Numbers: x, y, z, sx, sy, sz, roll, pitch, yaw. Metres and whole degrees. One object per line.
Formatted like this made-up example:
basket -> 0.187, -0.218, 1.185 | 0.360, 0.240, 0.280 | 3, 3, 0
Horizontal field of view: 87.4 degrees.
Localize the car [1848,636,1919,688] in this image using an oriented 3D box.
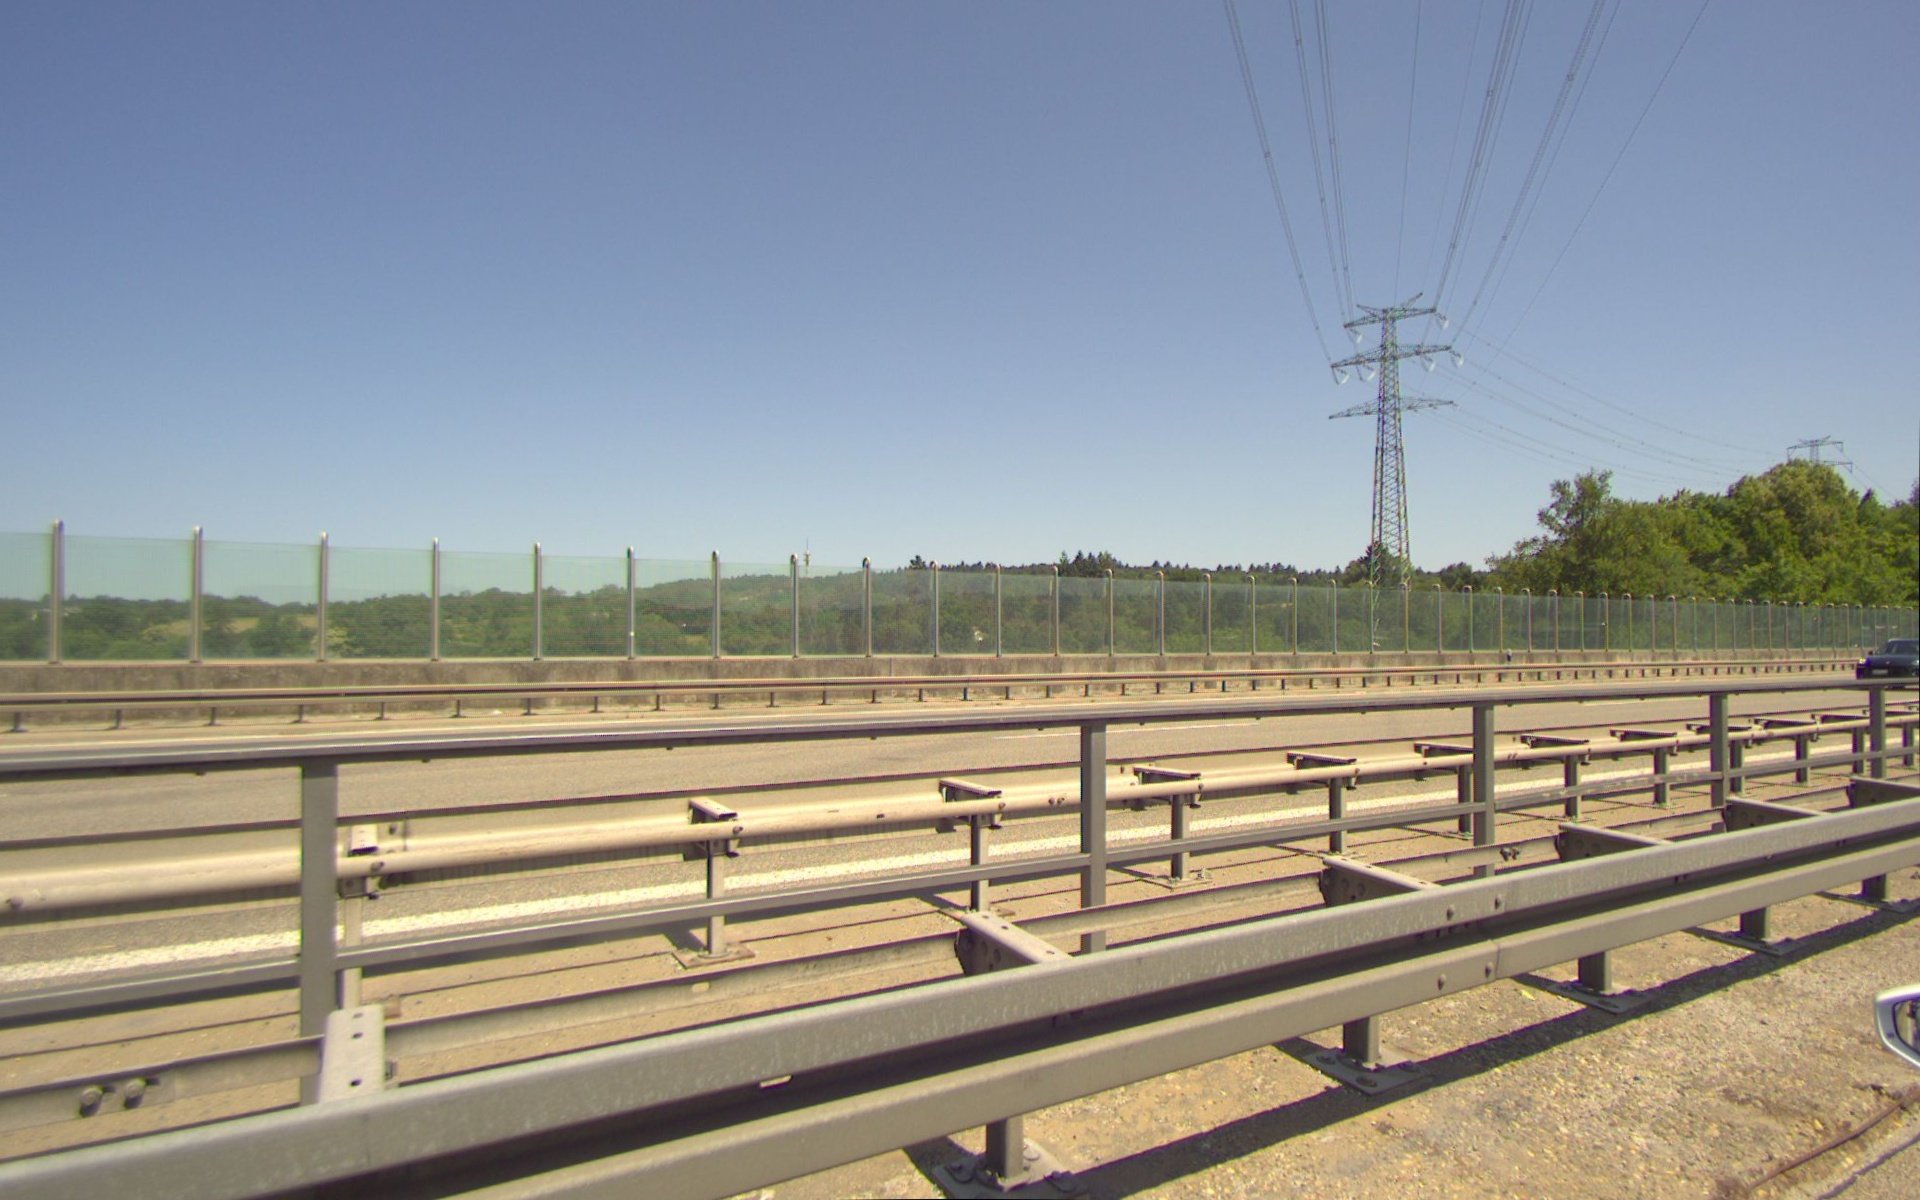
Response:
car -> 30.459, 1.962, 32.157 | 4.336, 1.589, 1.772 | 2, -3, -31
